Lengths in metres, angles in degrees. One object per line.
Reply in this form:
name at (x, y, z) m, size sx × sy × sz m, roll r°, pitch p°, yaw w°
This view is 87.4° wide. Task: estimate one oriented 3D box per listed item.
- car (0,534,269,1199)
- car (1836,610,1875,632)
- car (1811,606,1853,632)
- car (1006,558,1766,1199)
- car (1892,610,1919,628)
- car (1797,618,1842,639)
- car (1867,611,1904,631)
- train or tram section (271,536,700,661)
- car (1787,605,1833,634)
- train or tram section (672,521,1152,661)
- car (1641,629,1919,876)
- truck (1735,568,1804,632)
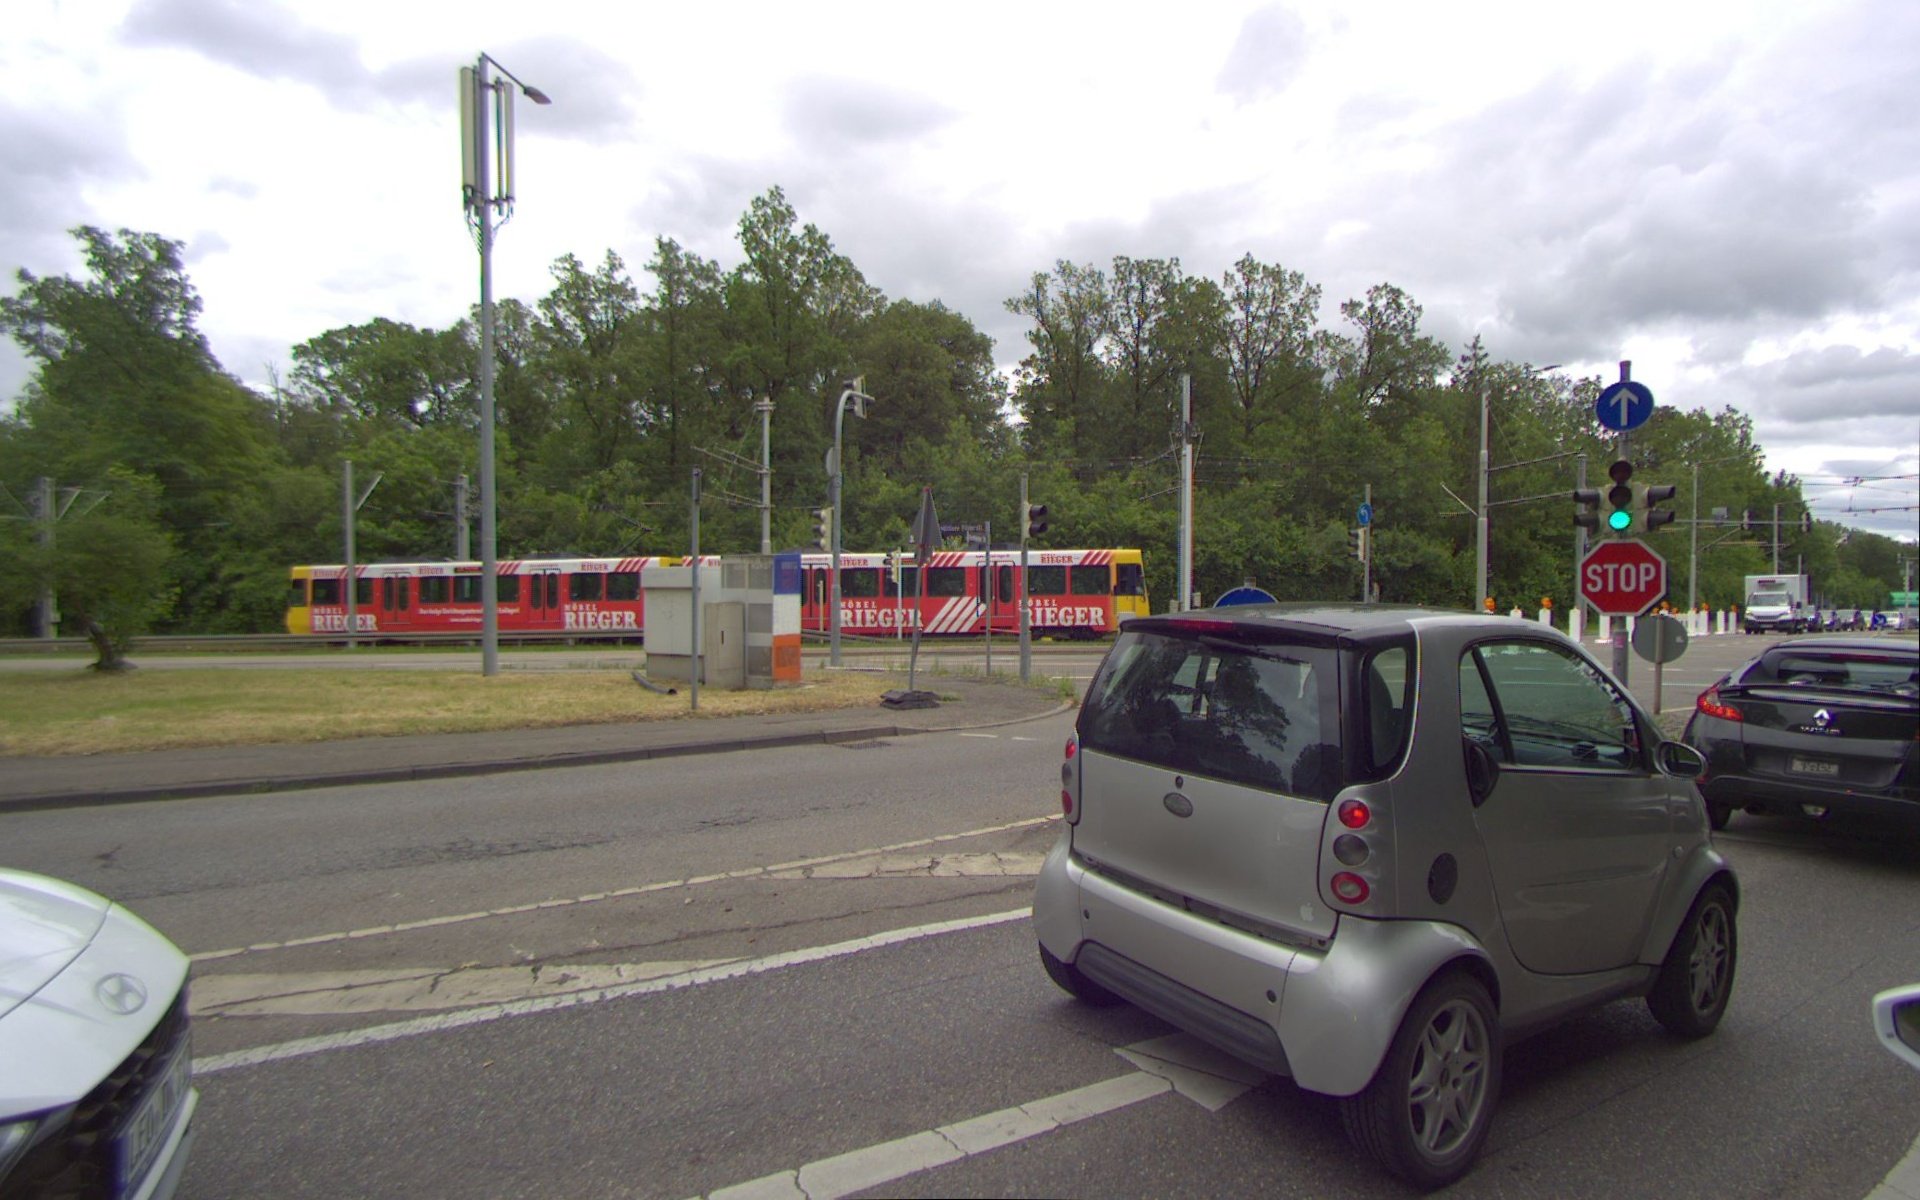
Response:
car at (-3.324, 0.654, 1.084) m, size 4.020 × 1.499 × 1.644 m, roll 1°, pitch -1°, yaw -27°
car at (71.146, 1.661, 79.791) m, size 4.280 × 1.628 × 1.943 m, roll 1°, pitch 0°, yaw -44°
car at (65.230, 1.431, 75.113) m, size 4.657 × 1.869 × 1.943 m, roll 1°, pitch 0°, yaw -44°
car at (1.680, 0.725, 3.803) m, size 2.700 × 1.607 × 1.448 m, roll 1°, pitch -1°, yaw -35°
car at (86.245, 1.687, 91.373) m, size 4.280 × 1.561 × 1.943 m, roll 1°, pitch 0°, yaw -44°
car at (59.909, 1.942, 69.952) m, size 4.657 × 1.380 × 1.943 m, roll 1°, pitch 0°, yaw -44°
car at (76.084, 1.718, 82.539) m, size 4.365 × 1.562 × 1.943 m, roll 1°, pitch 0°, yaw -44°
train or tram section at (-20.125, -0.158, 42.304) m, size 18.350 × 4.477 × 2.967 m, roll 2°, pitch 0°, yaw 13°
car at (54.916, 1.254, 64.847) m, size 1.941 × 1.773 × 4.816 m, roll 1°, pitch 0°, yaw 44°
train or tram section at (-1.852, -0.366, 39.533) m, size 18.172 × 4.712 × 2.958 m, roll 2°, pitch 0°, yaw 4°
car at (6.547, 0.926, 7.281) m, size 3.446 × 1.379 × 1.760 m, roll 1°, pitch -1°, yaw -39°
truck at (44.311, 0.063, 54.876) m, size 2.422 × 3.267 × 7.114 m, roll 0°, pitch -1°, yaw 43°
